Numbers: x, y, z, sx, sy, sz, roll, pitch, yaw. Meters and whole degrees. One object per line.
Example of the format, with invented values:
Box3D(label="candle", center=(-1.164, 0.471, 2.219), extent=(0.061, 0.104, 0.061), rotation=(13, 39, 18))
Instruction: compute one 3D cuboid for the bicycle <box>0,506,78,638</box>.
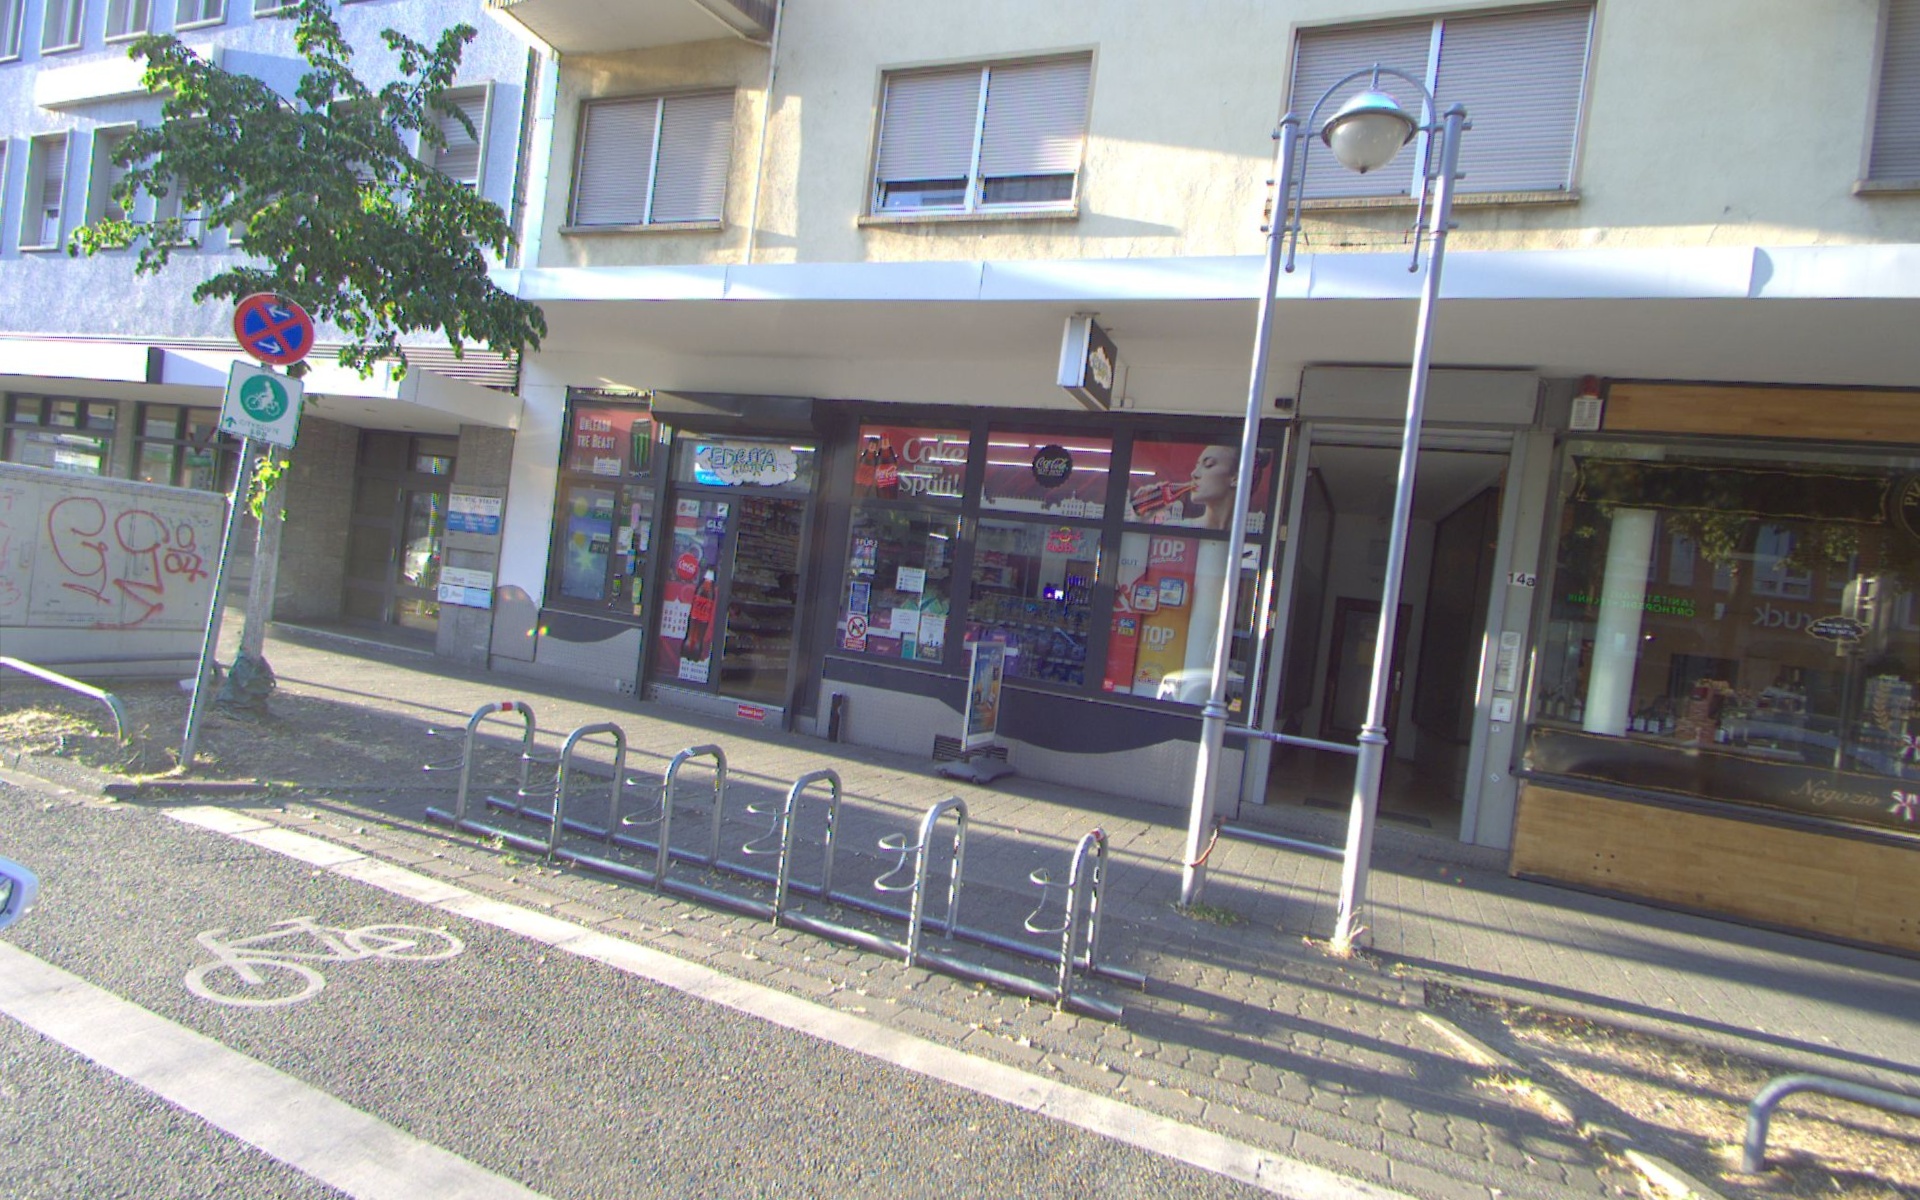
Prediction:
Box3D(label="bicycle", center=(-9.128, -0.289, 9.112), extent=(0.484, 1.208, 1.663), rotation=(8, 0, 11))
